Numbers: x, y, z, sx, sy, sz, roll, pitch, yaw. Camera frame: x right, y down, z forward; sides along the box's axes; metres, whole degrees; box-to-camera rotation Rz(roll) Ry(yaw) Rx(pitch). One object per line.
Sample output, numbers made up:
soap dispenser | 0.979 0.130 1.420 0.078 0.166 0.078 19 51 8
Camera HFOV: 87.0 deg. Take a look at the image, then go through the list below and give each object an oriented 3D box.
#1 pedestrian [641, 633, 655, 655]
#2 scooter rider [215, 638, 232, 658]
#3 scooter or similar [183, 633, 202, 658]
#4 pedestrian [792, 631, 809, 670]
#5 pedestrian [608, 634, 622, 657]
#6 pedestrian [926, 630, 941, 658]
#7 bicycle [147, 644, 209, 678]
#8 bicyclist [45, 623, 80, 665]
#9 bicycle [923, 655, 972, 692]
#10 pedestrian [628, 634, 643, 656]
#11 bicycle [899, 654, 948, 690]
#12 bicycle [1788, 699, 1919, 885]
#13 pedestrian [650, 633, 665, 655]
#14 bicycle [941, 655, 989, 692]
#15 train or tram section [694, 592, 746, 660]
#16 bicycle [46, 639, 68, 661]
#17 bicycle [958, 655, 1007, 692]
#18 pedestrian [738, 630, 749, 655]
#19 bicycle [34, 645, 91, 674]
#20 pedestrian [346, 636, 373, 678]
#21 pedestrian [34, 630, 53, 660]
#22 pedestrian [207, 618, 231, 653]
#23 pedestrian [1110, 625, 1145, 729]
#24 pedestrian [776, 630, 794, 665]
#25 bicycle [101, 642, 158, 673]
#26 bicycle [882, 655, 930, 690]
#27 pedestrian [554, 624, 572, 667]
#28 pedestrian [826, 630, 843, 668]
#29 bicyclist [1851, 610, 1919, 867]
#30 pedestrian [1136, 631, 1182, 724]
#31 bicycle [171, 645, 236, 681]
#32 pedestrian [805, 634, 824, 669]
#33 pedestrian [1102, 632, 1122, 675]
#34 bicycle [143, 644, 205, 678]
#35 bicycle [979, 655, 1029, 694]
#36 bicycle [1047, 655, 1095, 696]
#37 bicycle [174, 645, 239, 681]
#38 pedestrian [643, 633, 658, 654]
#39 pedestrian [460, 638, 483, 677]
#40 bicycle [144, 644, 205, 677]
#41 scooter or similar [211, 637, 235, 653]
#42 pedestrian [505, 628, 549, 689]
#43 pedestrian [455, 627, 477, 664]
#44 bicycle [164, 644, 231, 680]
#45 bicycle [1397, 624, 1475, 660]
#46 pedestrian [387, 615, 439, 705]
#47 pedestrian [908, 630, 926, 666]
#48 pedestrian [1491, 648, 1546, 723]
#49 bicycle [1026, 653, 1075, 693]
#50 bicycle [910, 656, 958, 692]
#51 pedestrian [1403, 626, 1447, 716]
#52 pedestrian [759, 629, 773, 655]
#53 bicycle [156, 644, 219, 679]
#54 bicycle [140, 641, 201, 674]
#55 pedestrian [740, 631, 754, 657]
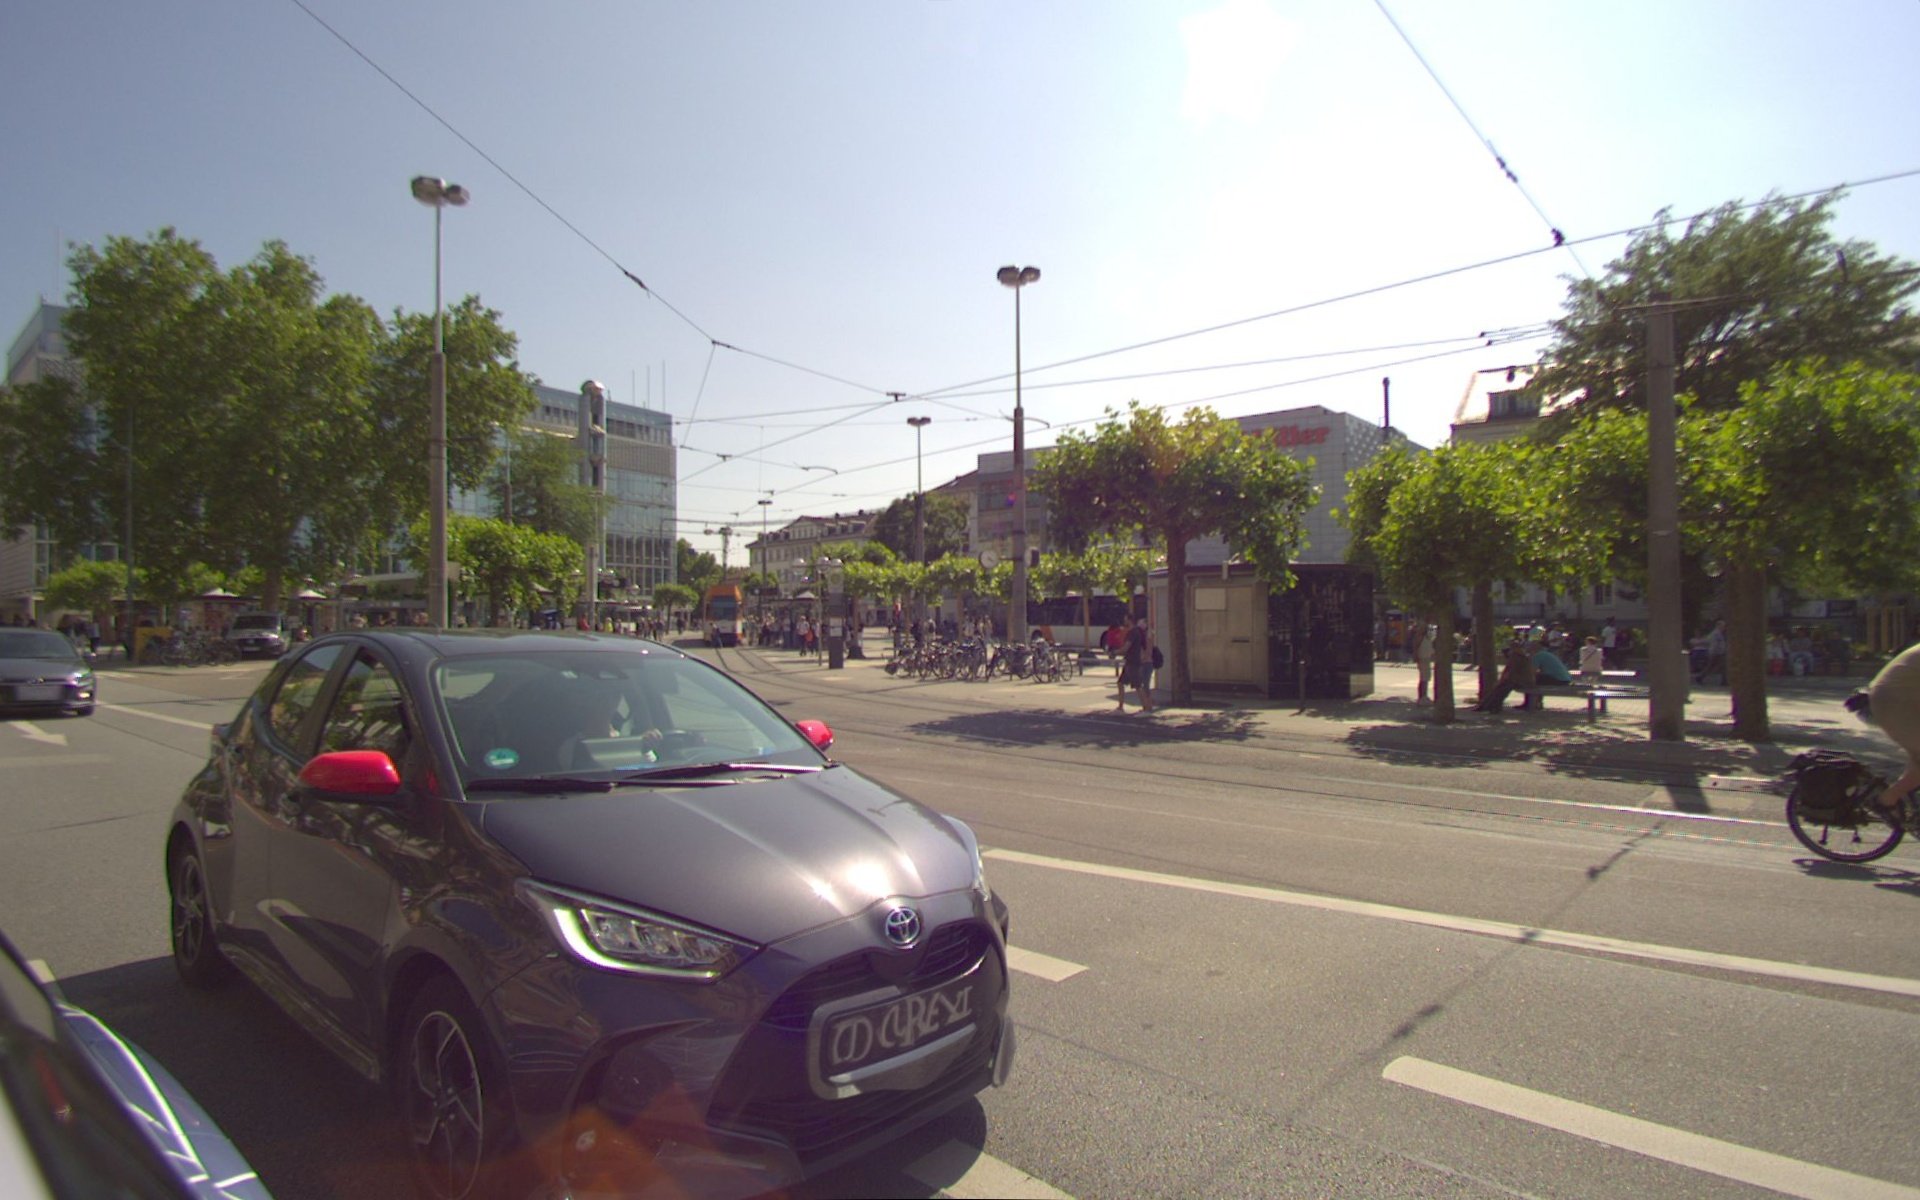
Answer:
pedestrian | -21.750 3.068 70.607 0.555 1.483 0.748 -1 0 40
scooter rider | -31.814 2.078 43.731 0.499 0.845 0.350 -2 0 -16
scooter or similar | -35.505 2.097 46.796 0.559 1.128 0.540 -2 0 -22
pedestrian | -6.880 2.177 43.682 0.518 1.678 0.469 -1 -4 18
pedestrian | -23.698 3.130 69.531 0.555 1.483 0.748 -1 0 40
pedestrian | -1.413 2.323 53.866 0.672 1.477 0.624 0 -4 7
bicycle | -28.339 2.208 36.704 0.482 1.156 1.736 -1 -1 38
bicyclist | -33.662 1.623 37.954 1.160 1.509 0.820 -1 0 40
bicycle | -0.336 2.047 28.486 0.544 0.862 1.853 -2 0 27
pedestrian | -22.521 3.091 70.238 0.555 1.483 0.748 -1 0 40
bicycle | -1.045 2.070 29.390 0.580 0.878 1.853 -2 0 27
bicycle | 6.630 1.263 6.572 1.871 1.129 0.810 -1 -4 37
pedestrian | -21.059 3.038 70.448 0.555 1.483 0.748 -1 0 40
bicycle | 0.164 2.018 28.168 0.544 0.862 1.853 -2 0 27
train or tram section | -15.124 1.482 63.303 2.578 3.856 9.547 -2 0 -16
bicycle | -53.083 2.929 59.486 0.718 1.152 1.917 -2 0 -36
bicycle | 0.630 1.994 27.685 0.544 0.862 1.853 -2 0 27
pedestrian | -13.503 2.654 63.082 0.568 1.561 0.683 2 -4 -23
bicycle | -33.651 2.219 37.948 2.616 1.030 0.823 -1 0 31
pedestrian | -21.366 2.011 36.018 0.680 1.477 0.616 -2 -3 41
pedestrian | -53.562 2.644 59.131 0.721 1.682 0.641 -2 0 -36
pedestrian | -32.464 1.539 44.336 0.570 1.472 0.788 -2 0 -16
pedestrian | 2.903 1.321 17.503 0.581 1.747 0.524 0 -4 11
pedestrian | -9.121 2.457 52.689 0.675 1.809 0.621 -1 -4 18
bicycle | -33.488 2.315 40.824 0.482 1.156 1.736 -1 -1 38
bicycle | -1.567 2.112 29.756 0.544 0.862 1.853 -2 0 27
pedestrian | -17.435 2.010 44.449 0.568 1.855 0.682 2 -4 -29
pedestrian | -5.731 2.236 46.367 0.584 1.744 0.557 -1 -4 18
bicyclist | 6.560 0.905 6.663 0.900 1.634 0.810 -2 -5 36
pedestrian | 3.542 1.377 18.038 0.518 1.622 0.627 3 -5 -40
bicycle | -26.170 2.156 35.032 0.482 1.156 1.736 -1 -1 38
pedestrian | -6.239 2.201 43.347 0.549 1.477 0.621 -1 -4 18
pedestrian | 5.351 1.893 35.605 0.617 1.477 0.680 0 -4 3
bicycle | -28.786 2.218 37.095 0.482 1.156 1.736 -1 -1 38
bicycle | 1.186 1.967 27.011 0.579 0.876 1.853 -2 0 27
bicycle | 2.866 1.925 26.004 0.579 0.876 1.853 -2 0 27
bicycle | -25.849 2.154 34.754 0.482 1.156 1.736 -1 -1 38
pedestrian | -21.864 3.059 71.520 0.555 1.483 0.748 -1 0 40
pedestrian | -16.191 1.893 33.542 0.568 1.243 0.555 -1 0 -15
bicycle | -29.170 2.226 37.607 0.482 1.156 1.736 -1 -1 38
scooter or similar | -31.762 1.941 43.624 0.570 0.652 0.788 -2 0 -17
pedestrian | -12.040 1.613 28.152 0.678 1.671 0.885 -1 -2 31
pedestrian | -20.162 1.856 41.314 0.716 1.477 0.682 2 -4 -29
bicycle | -26.835 2.171 35.638 0.482 1.156 1.842 -1 -1 38
bicycle | 20.350 1.773 43.316 3.102 1.389 0.823 -2 0 -11
pedestrian | -12.467 1.365 23.090 0.670 2.023 0.895 1 -3 -3
pedestrian | -1.870 2.094 44.329 0.530 1.565 0.592 -3 -5 43
pedestrian | 9.596 1.453 17.393 0.751 1.256 0.669 -2 -4 34
bicycle | 2.365 1.878 26.268 0.579 0.876 1.853 -2 0 27
bicycle | -0.720 2.108 28.884 0.544 0.862 1.853 -2 0 27
pedestrian | 8.606 1.310 18.740 0.597 1.622 0.574 0 -4 12
pedestrian | -11.662 2.528 60.878 0.573 1.561 0.677 0 -4 14
bicycle | -27.709 2.191 36.312 0.482 1.156 1.736 -1 -1 38
bicycle | -29.680 2.165 38.058 0.482 1.156 1.736 -1 -1 38
pedestrian | -12.910 2.647 61.472 0.573 1.561 0.677 0 -4 14
